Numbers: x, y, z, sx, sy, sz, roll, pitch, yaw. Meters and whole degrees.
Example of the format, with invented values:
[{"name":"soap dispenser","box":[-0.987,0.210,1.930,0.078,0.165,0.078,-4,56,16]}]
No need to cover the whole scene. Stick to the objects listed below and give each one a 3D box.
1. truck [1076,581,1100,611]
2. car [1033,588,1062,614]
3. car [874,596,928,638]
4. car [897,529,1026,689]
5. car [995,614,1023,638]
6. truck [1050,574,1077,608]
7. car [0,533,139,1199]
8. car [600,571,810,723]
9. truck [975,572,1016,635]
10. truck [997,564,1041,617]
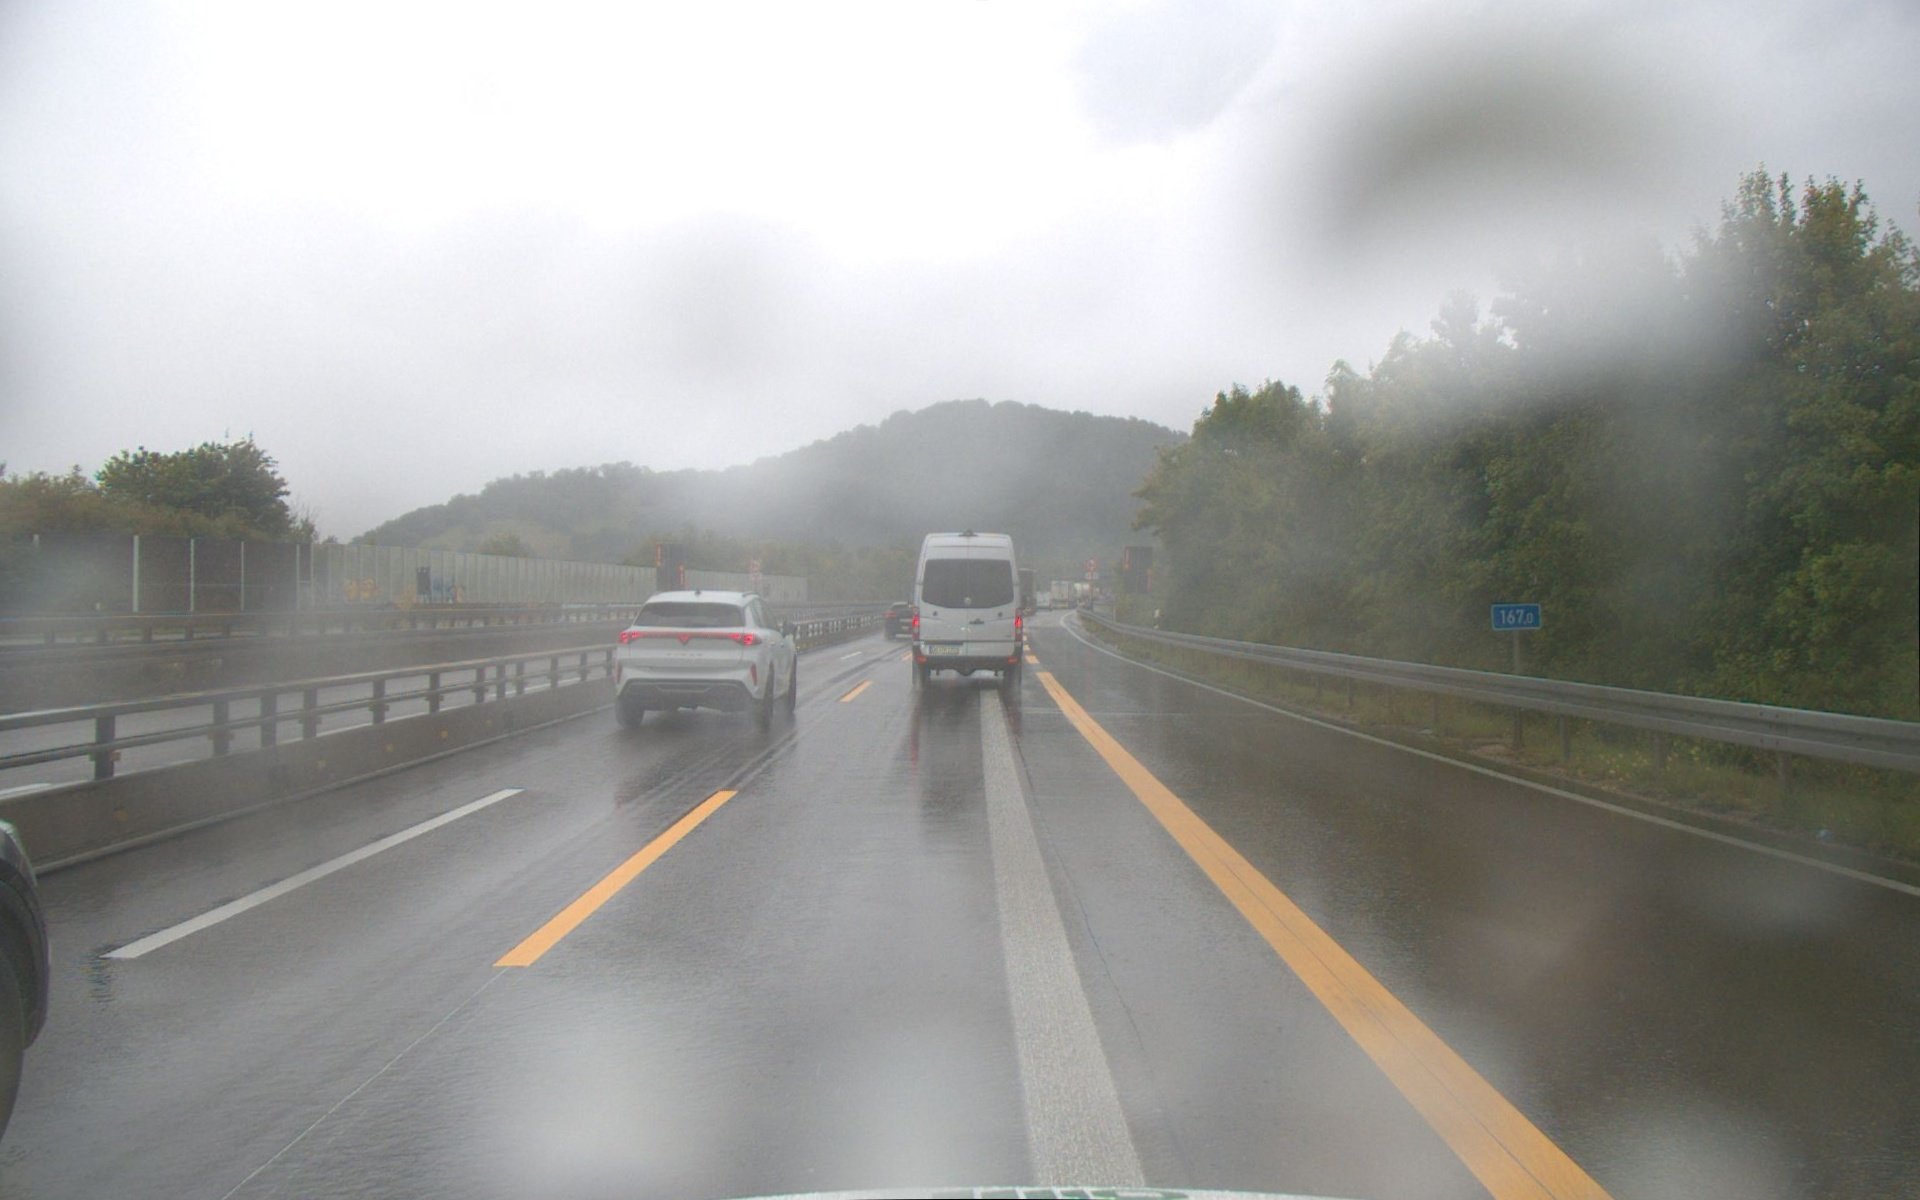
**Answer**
[{"name":"truck","box":[20.364,-0.593,261.894,2.836,4.483,9.631,1,0,10]},{"name":"car","box":[10.267,0.177,193.882,2.837,2.938,6.416,1,0,8]},{"name":"car","box":[-2.296,0.659,65.165,1.907,1.588,4.000,1,0,0]},{"name":"car","box":[0.005,0.169,30.248,2.101,2.616,5.388,1,0,-1]},{"name":"car","box":[3.187,1.647,107.064,1.736,1.501,4.001,1,0,3]},{"name":"truck","box":[14.440,-1.183,230.340,2.971,4.483,9.631,1,0,7]},{"name":"car","box":[-3.248,0.615,2.396,1.953,1.613,4.412,1,0,-1]},{"name":"car","box":[-3.037,0.536,20.723,1.953,1.646,4.795,1,0,-1]},{"name":"truck","box":[1.952,0.207,87.543,1.952,3.163,8.500,1,0,2]},{"name":"truck","box":[5.362,-0.760,147.309,3.506,4.483,9.628,1,0,4]}]
